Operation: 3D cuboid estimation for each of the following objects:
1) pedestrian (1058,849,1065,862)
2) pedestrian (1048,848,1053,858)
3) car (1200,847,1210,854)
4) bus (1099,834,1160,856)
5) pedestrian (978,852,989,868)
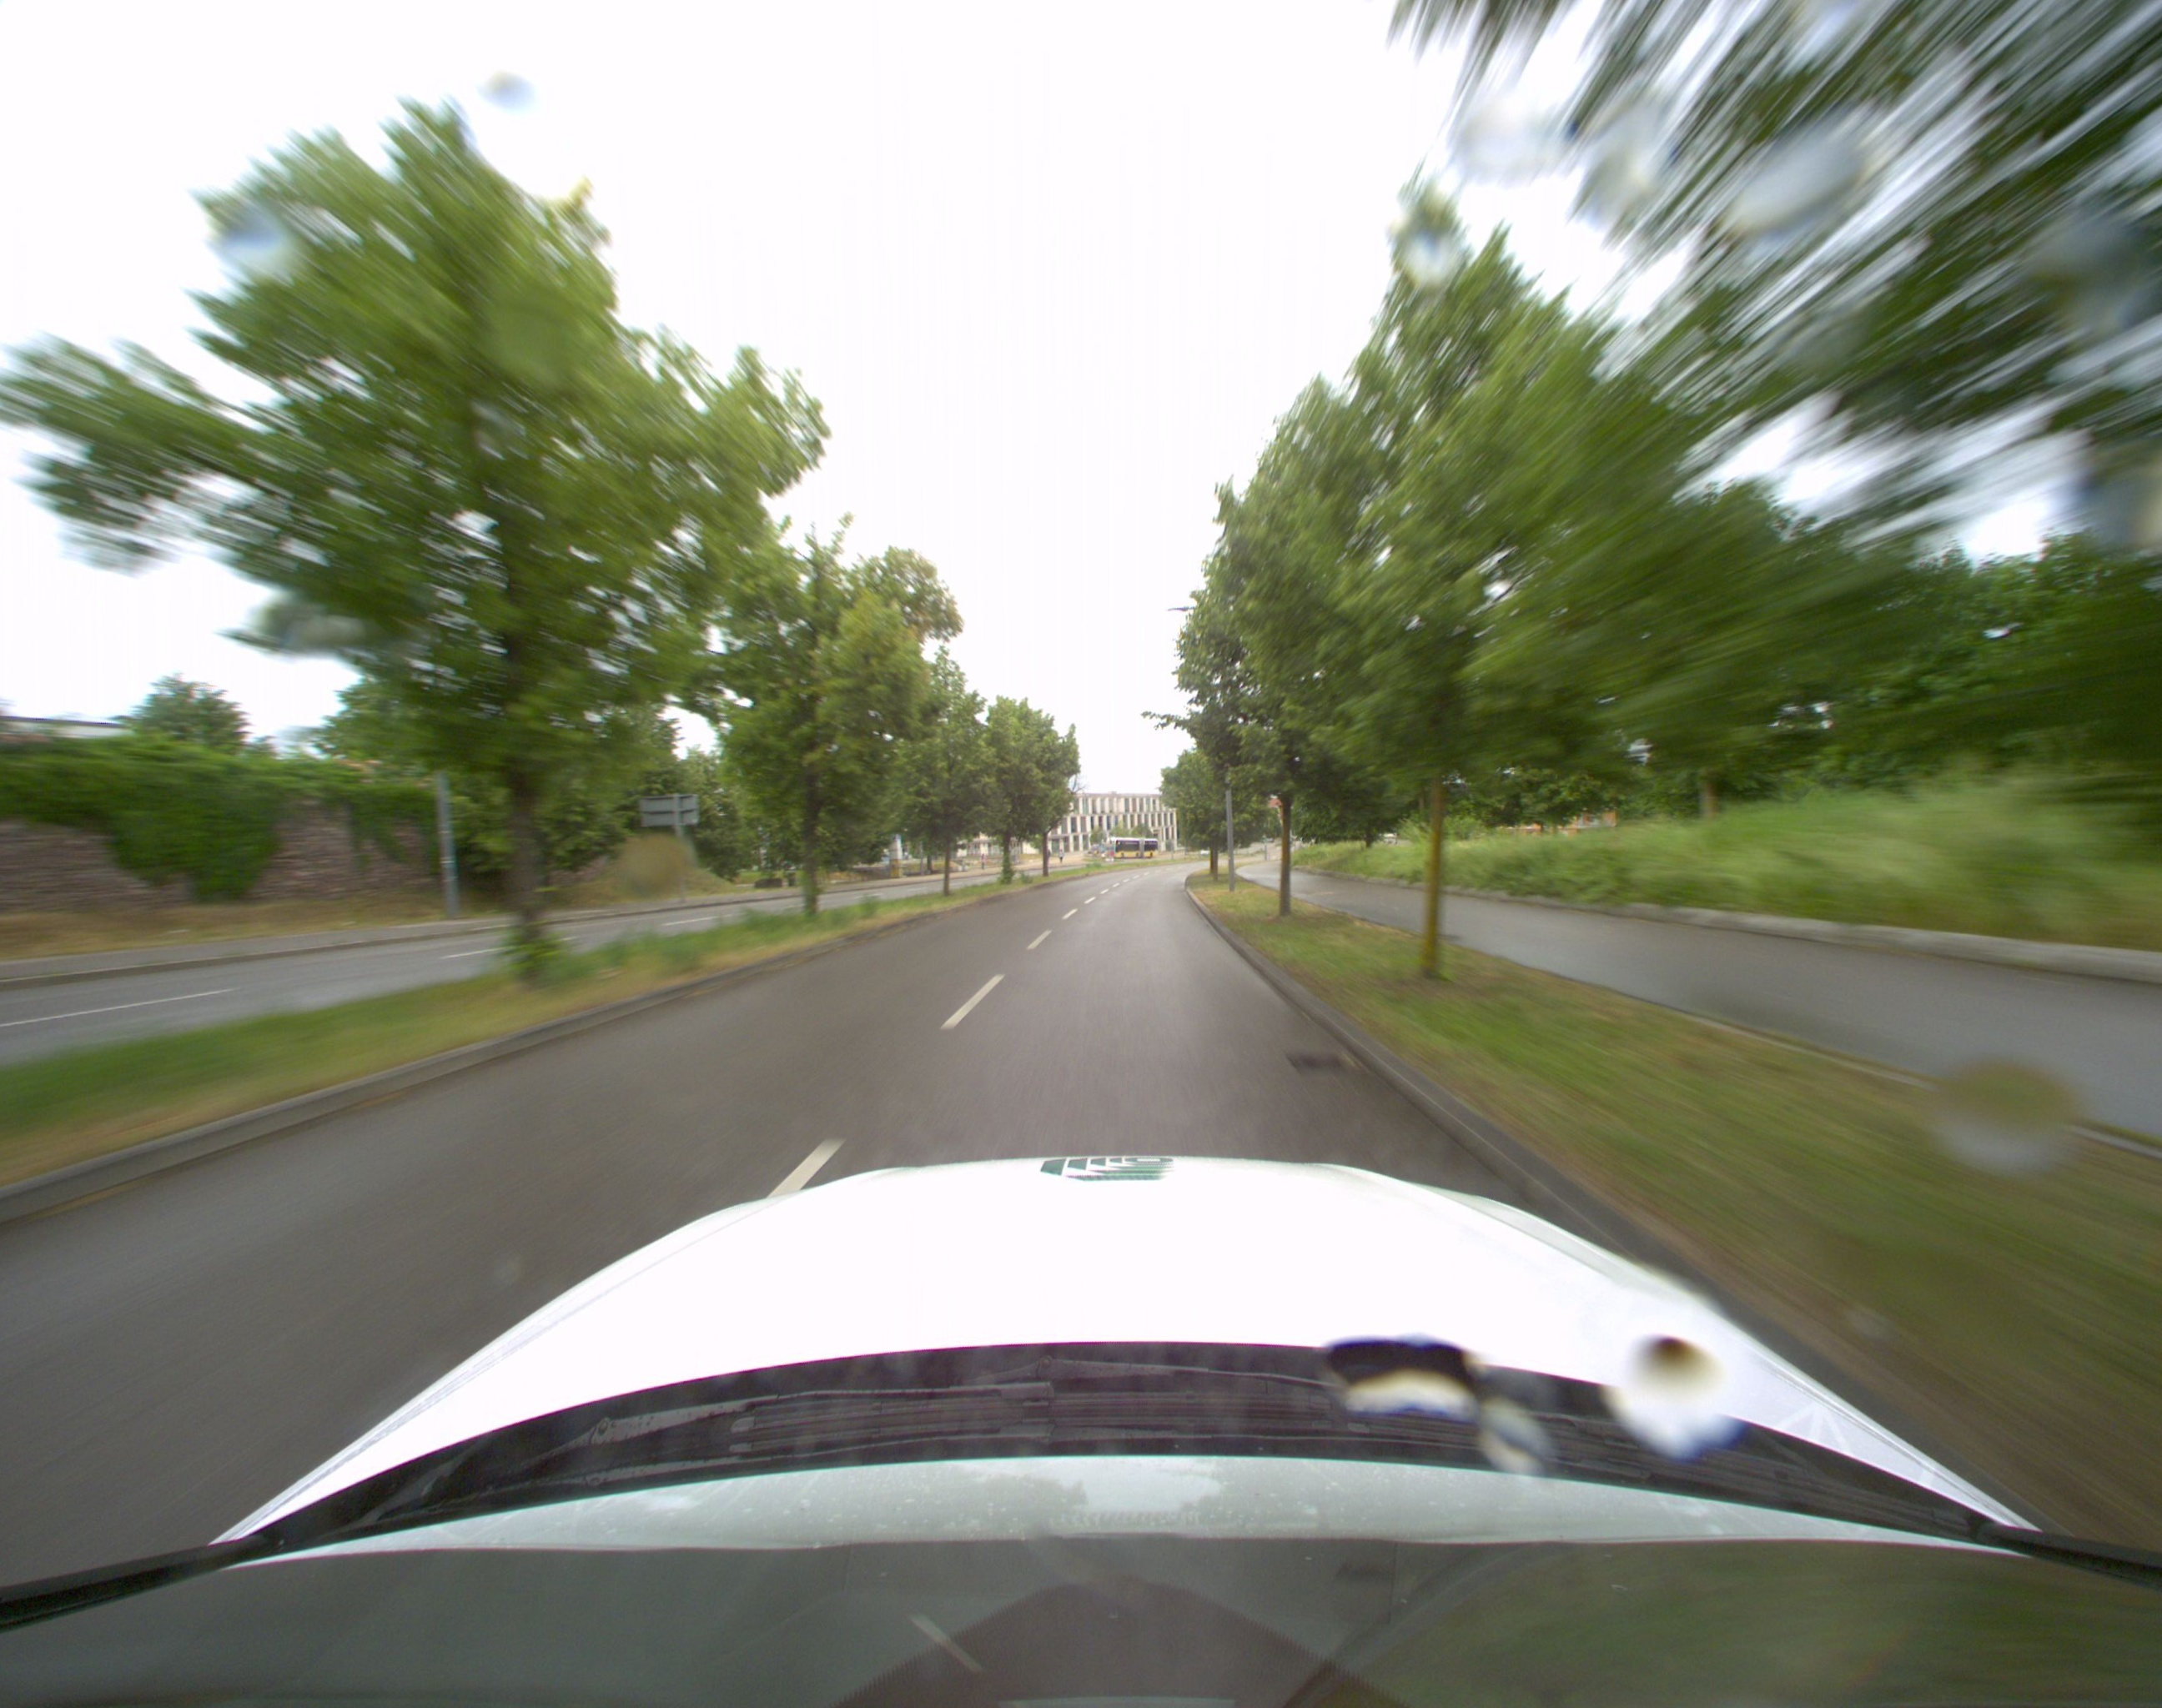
[{"bbox_3d":[-2.363,0.171,98.344,0.832,1.573,0.718,-2,-1,-5],"label":"pedestrian"},{"bbox_3d":[-4.542,-0.172,121.362,0.679,1.524,0.720,-2,-1,2],"label":"pedestrian"},{"bbox_3d":[26.677,-0.705,174.860,1.464,1.494,2.545,-2,-1,26],"label":"car"},{"bbox_3d":[8.398,-1.469,136.045,2.758,3.357,18.336,-2,-1,27],"label":"bus"},{"bbox_3d":[-9.716,0.596,81.016,0.808,1.621,0.938,-2,-1,13],"label":"pedestrian"}]
